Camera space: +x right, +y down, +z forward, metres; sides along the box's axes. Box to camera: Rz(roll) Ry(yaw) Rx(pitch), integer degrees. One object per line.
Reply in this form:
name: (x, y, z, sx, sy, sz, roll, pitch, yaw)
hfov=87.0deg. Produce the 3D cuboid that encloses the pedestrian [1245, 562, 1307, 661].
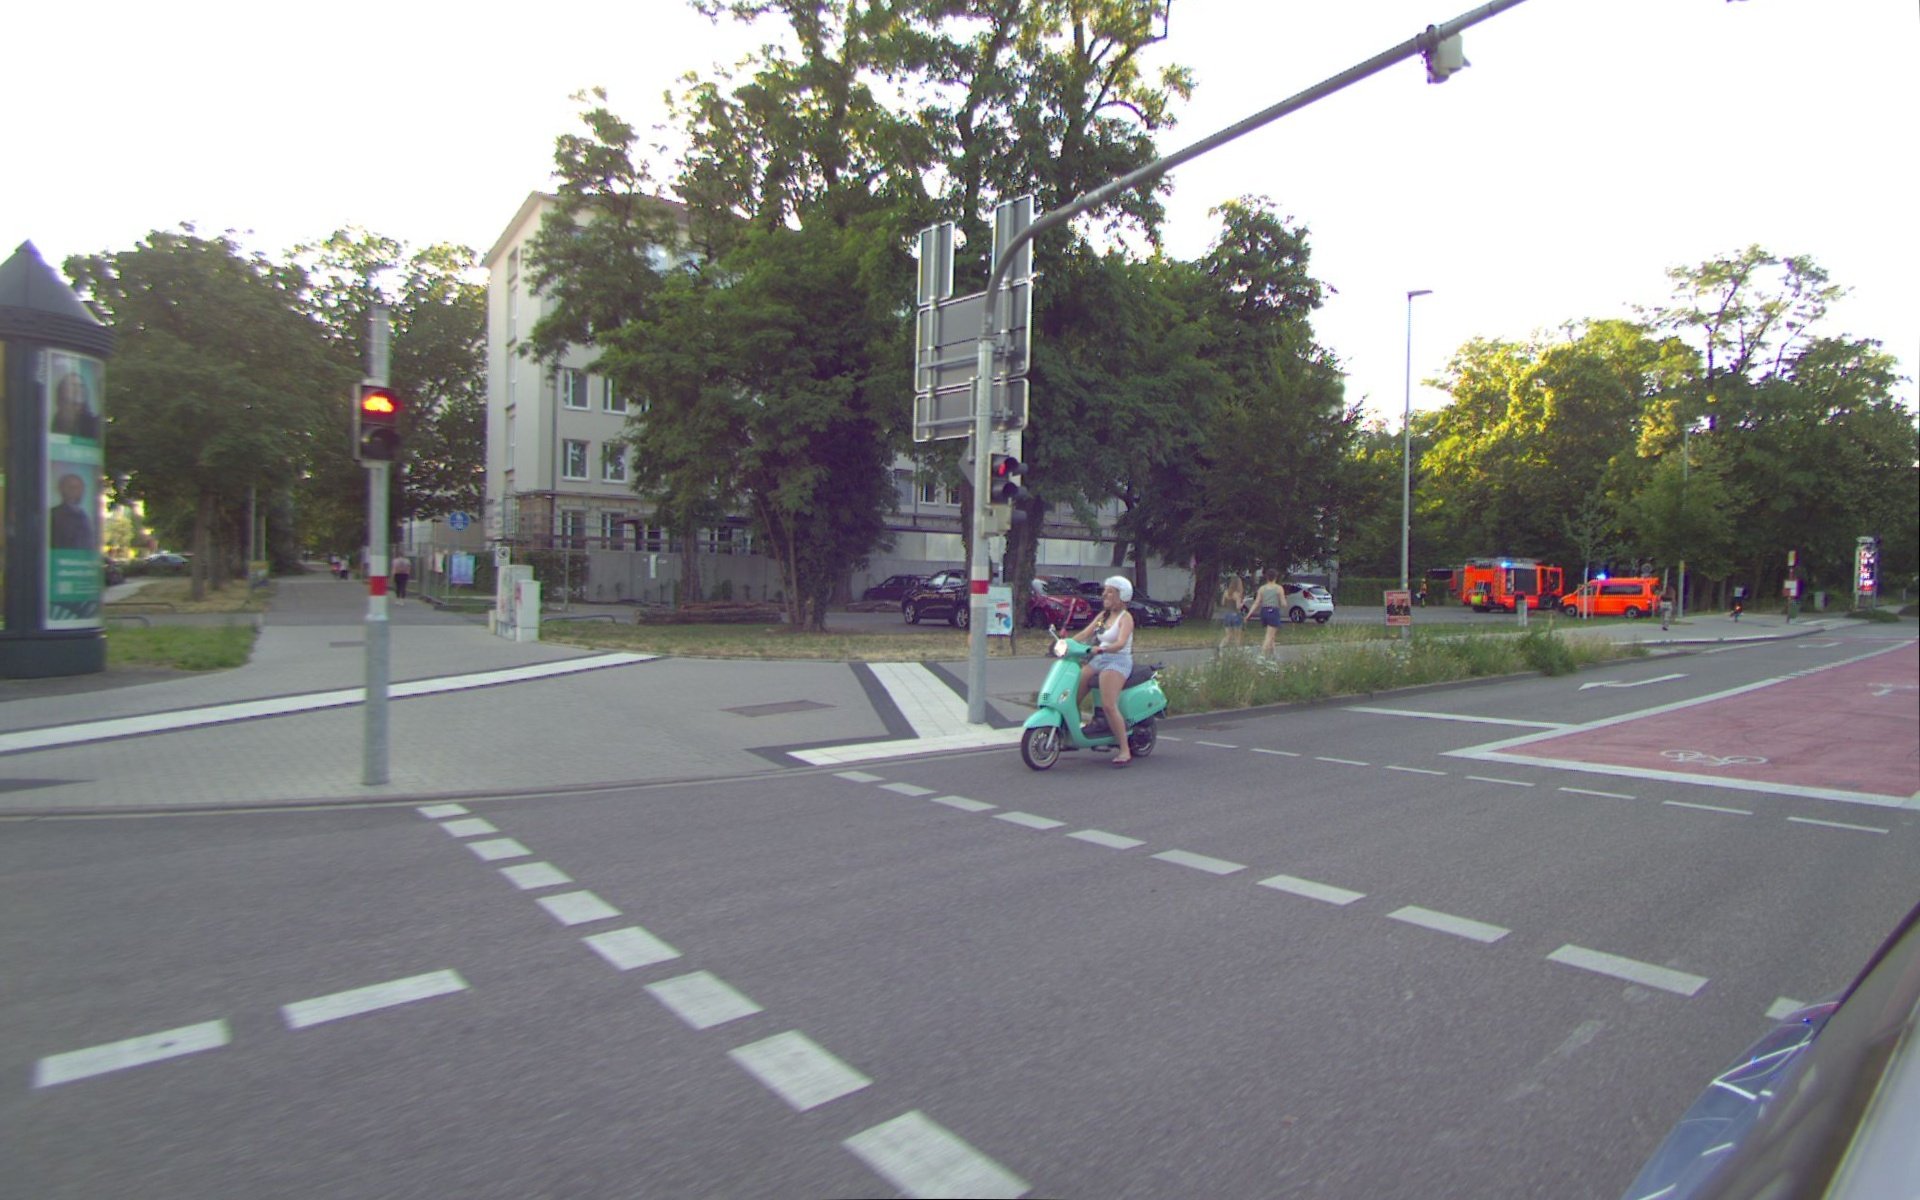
pedestrian: (5.552, 0.187, 17.775, 0.763, 1.680, 0.720, 0, 2, -41)

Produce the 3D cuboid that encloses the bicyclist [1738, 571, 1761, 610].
bicyclist: (34.185, -0.405, 43.800, 1.020, 1.652, 0.571, 0, 2, -41)

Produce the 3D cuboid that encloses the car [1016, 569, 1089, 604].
car: (4.162, -0.632, 45.905, 1.734, 1.477, 3.320, 0, 2, -28)

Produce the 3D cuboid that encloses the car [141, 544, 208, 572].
car: (-58.574, -3.125, 75.502, 3.746, 1.804, 1.930, -5, 3, -41)

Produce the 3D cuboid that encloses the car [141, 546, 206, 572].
car: (-60.288, -3.139, 77.577, 3.746, 1.804, 1.930, -5, 3, -41)

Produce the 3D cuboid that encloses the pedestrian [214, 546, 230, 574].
pedestrian: (-43.526, -2.349, 59.726, 0.674, 1.642, 0.684, 0, 1, -29)

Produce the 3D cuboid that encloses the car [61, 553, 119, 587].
car: (-44.540, -1.568, 51.909, 1.963, 1.660, 3.999, 0, 2, -37)

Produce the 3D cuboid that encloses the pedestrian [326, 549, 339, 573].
pedestrian: (-42.853, -2.684, 69.089, 0.670, 1.642, 0.688, 0, 2, -36)

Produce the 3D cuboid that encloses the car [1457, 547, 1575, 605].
car: (33.279, -1.407, 60.441, 8.139, 3.283, 2.775, 0, 2, -35)

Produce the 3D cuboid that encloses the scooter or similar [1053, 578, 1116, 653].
scooter or similar: (2.208, 0.256, 17.917, 1.159, 1.287, 0.441, 0, 2, -42)

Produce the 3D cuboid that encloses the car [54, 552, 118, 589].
car: (-41.048, -1.387, 47.616, 1.963, 1.660, 3.999, 0, 2, -37)

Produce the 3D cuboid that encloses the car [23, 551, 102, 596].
car: (-34.939, -1.047, 39.479, 1.963, 1.660, 3.999, 0, 2, -37)

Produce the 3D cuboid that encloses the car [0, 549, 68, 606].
car: (-29.464, -0.736, 31.596, 1.864, 1.660, 4.003, 0, 2, -33)

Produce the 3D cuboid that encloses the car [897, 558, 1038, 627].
car: (0.132, -0.273, 28.669, 1.882, 1.762, 4.240, 0, 2, -35)

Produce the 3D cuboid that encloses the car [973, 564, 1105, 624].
car: (2.308, -0.218, 30.410, 1.882, 1.630, 4.003, 0, 2, -33)

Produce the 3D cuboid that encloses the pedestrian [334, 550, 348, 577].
pedestrian: (-38.257, -2.232, 62.518, 0.670, 1.642, 0.688, 0, 2, -36)

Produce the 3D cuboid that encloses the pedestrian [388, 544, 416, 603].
pedestrian: (-17.209, -0.819, 31.195, 0.690, 1.760, 0.897, 0, 2, -32)

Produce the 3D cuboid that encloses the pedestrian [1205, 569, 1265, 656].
pedestrian: (5.035, 0.212, 18.540, 0.775, 1.542, 0.736, 0, 2, -40)

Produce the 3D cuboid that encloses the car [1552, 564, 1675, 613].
car: (35.116, -0.665, 54.481, 1.963, 2.422, 5.167, 0, 2, -38)

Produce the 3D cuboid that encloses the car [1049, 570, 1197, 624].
car: (5.029, -0.140, 31.812, 1.884, 1.482, 4.518, 0, 2, -38)

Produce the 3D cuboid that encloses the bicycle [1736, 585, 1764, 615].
bicycle: (34.215, -0.021, 43.840, 1.866, 1.256, 0.571, 0, 2, -41)

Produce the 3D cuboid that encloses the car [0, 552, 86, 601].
car: (-32.139, -0.850, 35.384, 1.962, 1.631, 4.002, 0, 2, -35)

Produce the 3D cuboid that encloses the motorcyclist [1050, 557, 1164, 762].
motorcyclist: (1.324, 0.504, 9.151, 0.677, 1.759, 0.741, 1, 1, -32)

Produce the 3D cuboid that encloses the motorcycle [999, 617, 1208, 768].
motorcycle: (1.319, 0.779, 9.146, 1.857, 1.212, 0.685, 0, 1, -33)

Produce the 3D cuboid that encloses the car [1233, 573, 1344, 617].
car: (12.172, -0.210, 37.702, 1.633, 1.477, 3.667, 0, 2, -36)

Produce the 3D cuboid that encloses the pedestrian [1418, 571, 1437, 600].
pedestrian: (30.324, -0.934, 65.698, 0.828, 1.864, 0.684, 1, 1, -24)

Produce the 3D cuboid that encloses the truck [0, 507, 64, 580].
truck: (-44.799, -2.637, 47.984, 2.592, 3.178, 10.272, -1, 2, -37)

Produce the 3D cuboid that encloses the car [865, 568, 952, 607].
car: (-2.146, -0.546, 41.499, 1.738, 1.477, 3.625, 0, 2, -39)

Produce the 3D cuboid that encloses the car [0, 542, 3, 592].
car: (-36.071, -1.255, 36.270, 2.018, 1.886, 4.494, 0, 0, -37)

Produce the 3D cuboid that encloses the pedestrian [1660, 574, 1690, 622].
pedestrian: (25.322, -0.069, 35.860, 0.676, 1.642, 0.682, 1, 1, -41)
